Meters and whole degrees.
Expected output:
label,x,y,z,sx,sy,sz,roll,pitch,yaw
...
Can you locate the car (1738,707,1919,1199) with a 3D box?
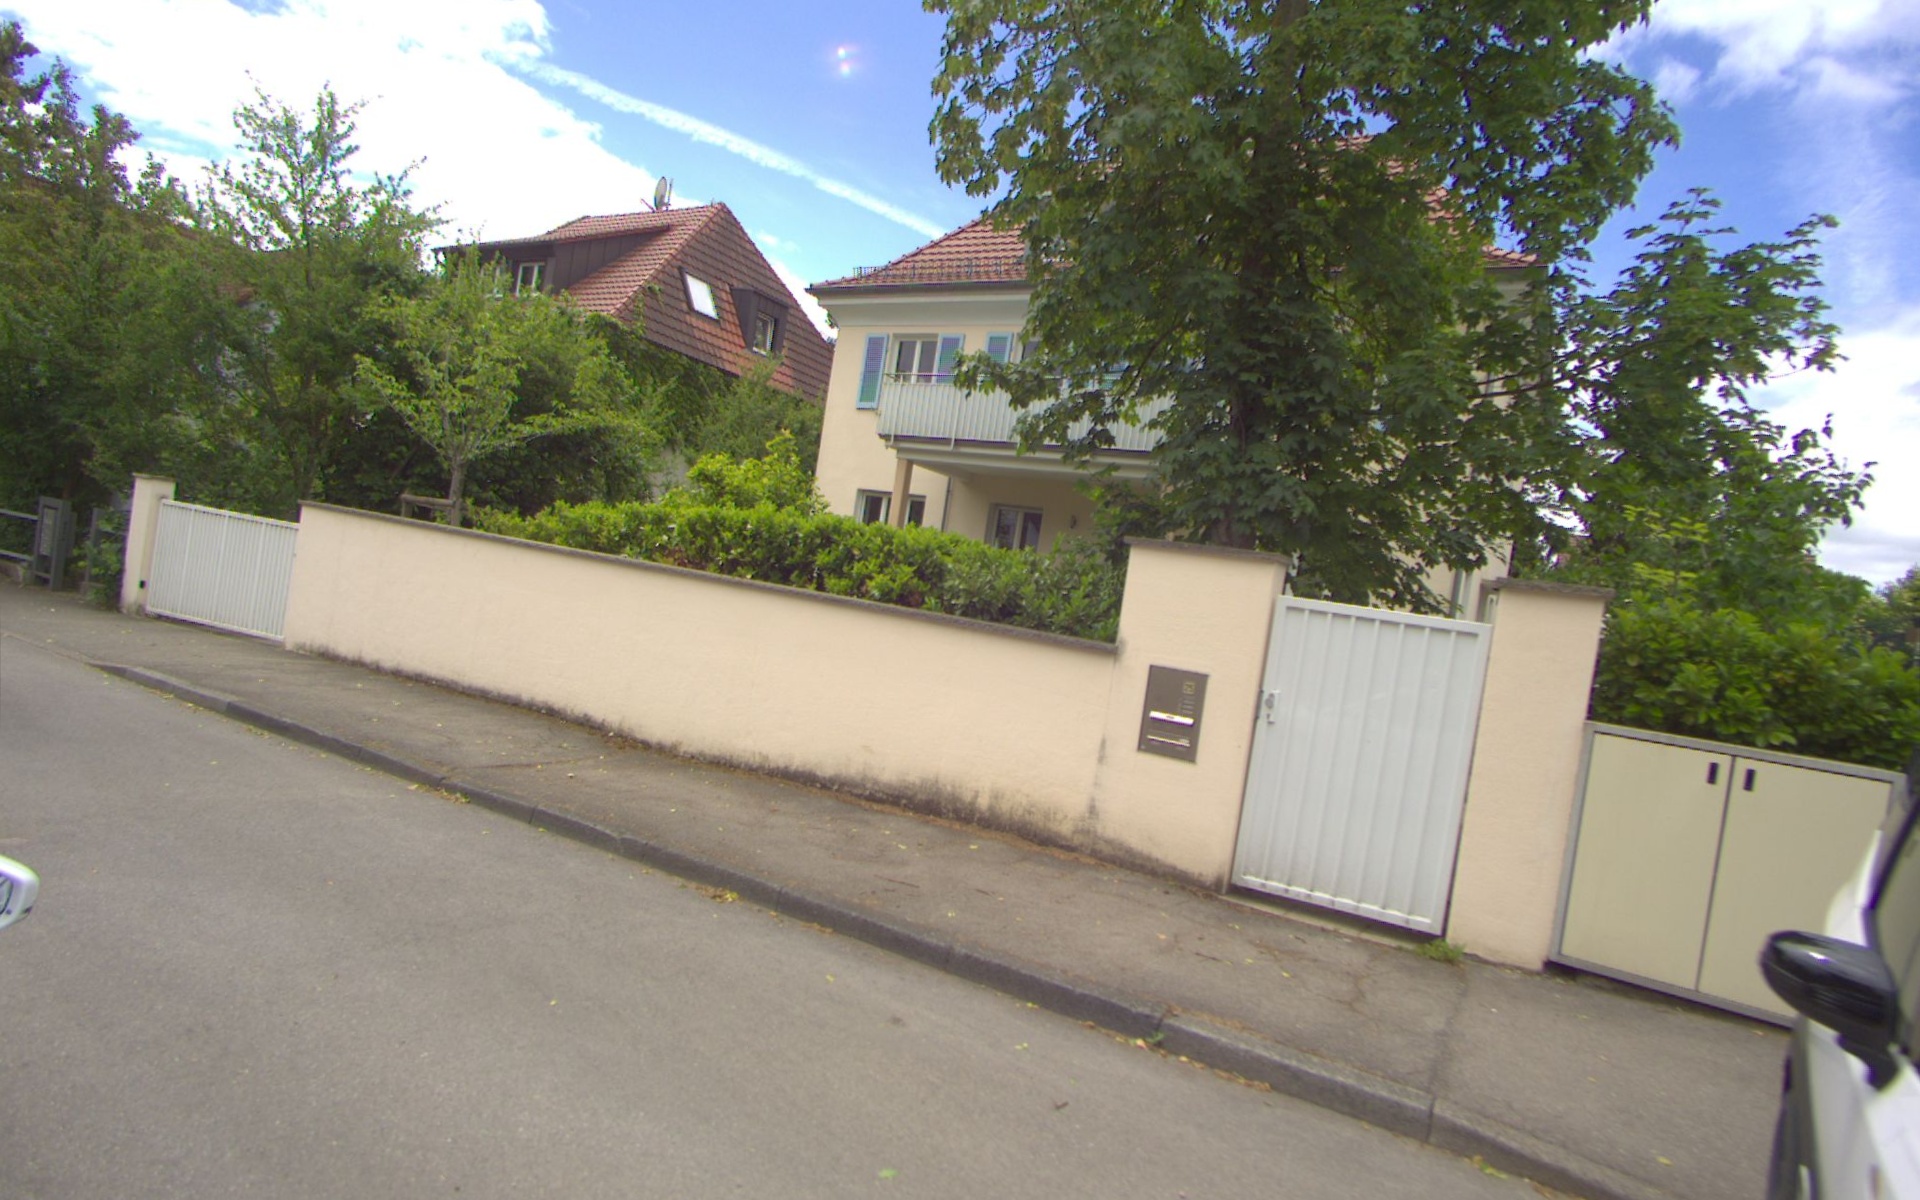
label,x,y,z,sx,sy,sz,roll,pitch,yaw
car,2.318,1.063,1.748,1.297,1.542,2.287,8,0,37
